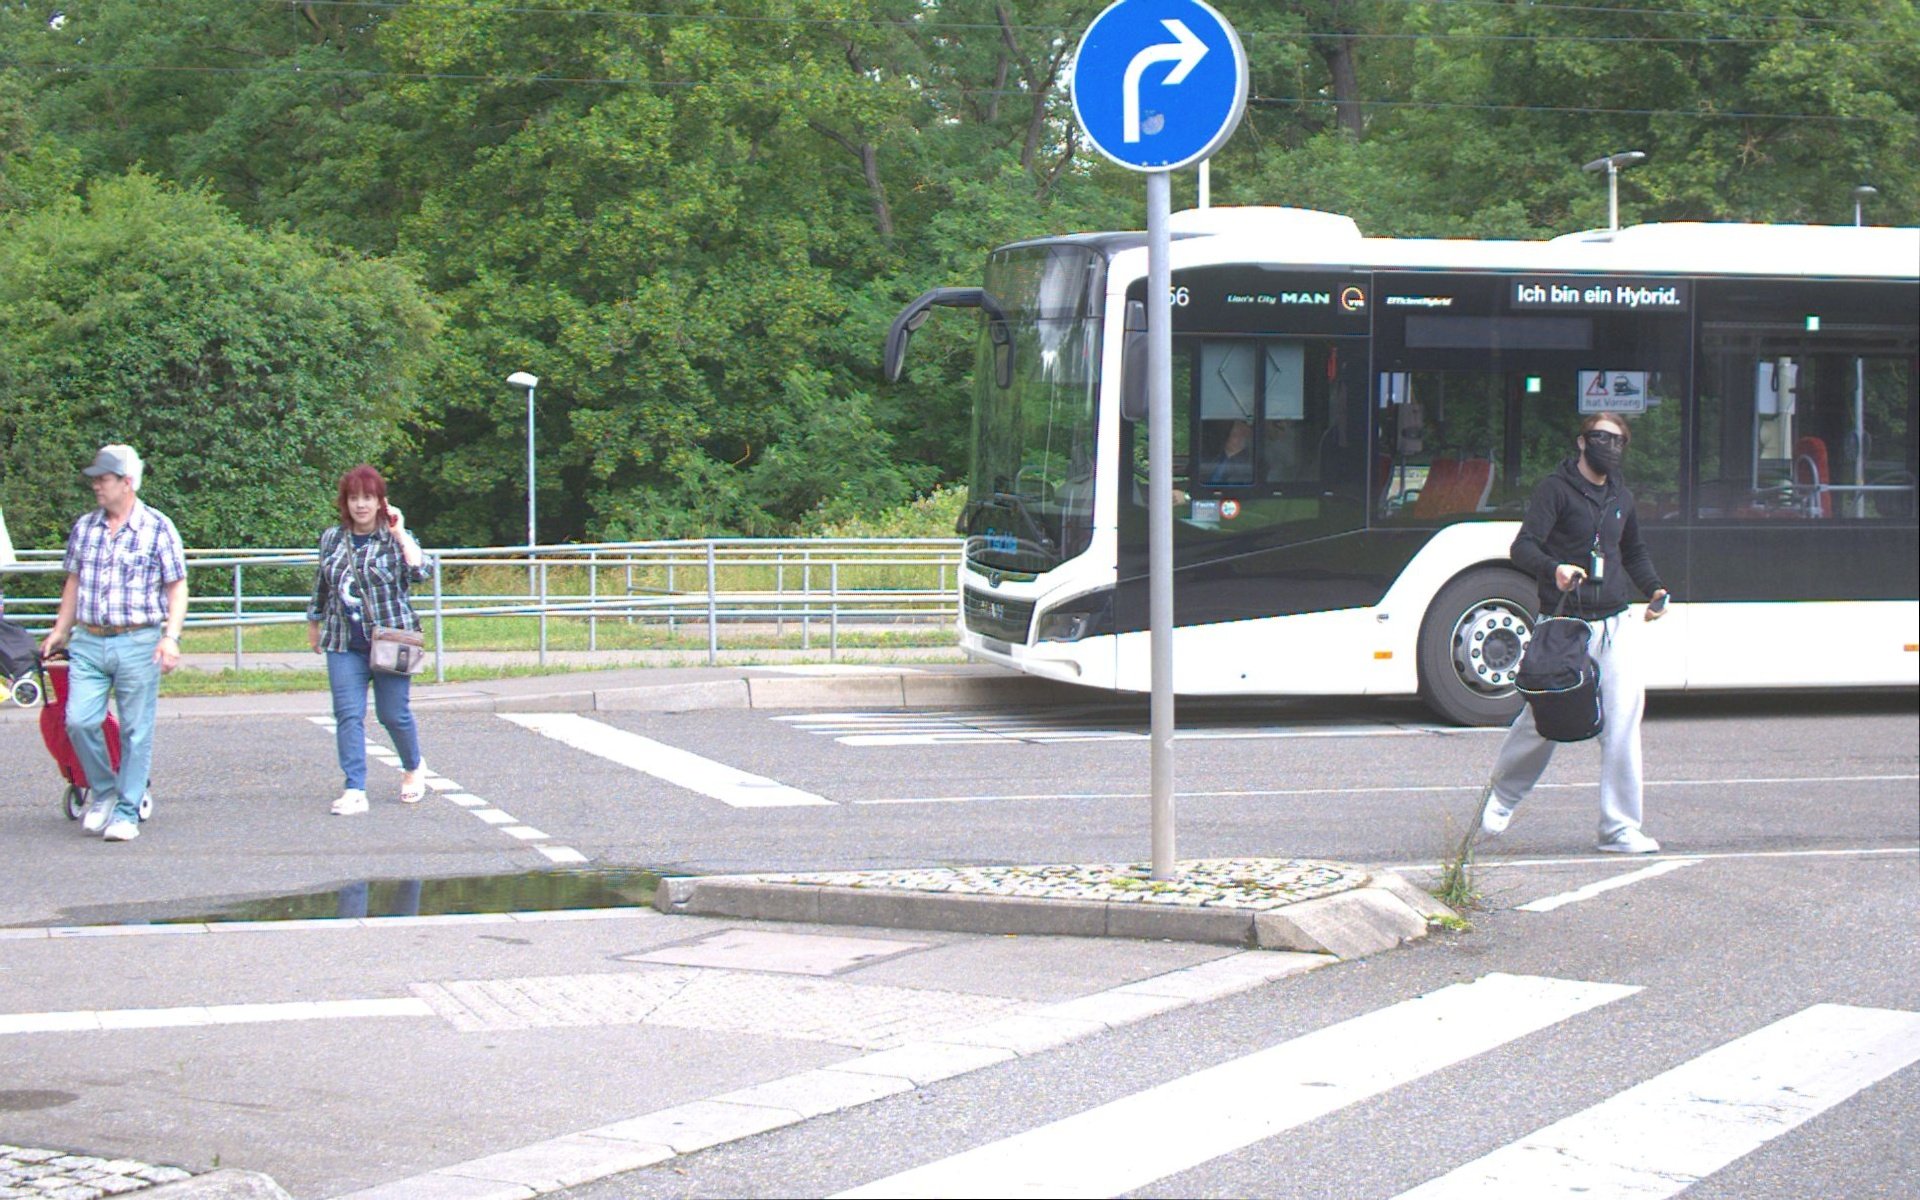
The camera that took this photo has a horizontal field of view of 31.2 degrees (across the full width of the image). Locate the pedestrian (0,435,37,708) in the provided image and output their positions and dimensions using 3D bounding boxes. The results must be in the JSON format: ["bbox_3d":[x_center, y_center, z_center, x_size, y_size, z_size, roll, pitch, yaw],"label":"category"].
[{"bbox_3d":[-6.414,-0.195,22.358,0.720,1.741,0.958,0,1,-11],"label":"pedestrian"}]

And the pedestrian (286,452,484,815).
[{"bbox_3d":[-2.556,0.136,15.254,0.730,1.561,0.692,0,1,-22],"label":"pedestrian"}]

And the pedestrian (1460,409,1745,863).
[{"bbox_3d":[2.554,0.126,13.782,0.954,1.741,1.062,1,1,2],"label":"pedestrian"}]

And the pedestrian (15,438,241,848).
[{"bbox_3d":[-3.417,0.158,14.105,0.720,1.628,0.699,-1,1,-30],"label":"pedestrian"}]

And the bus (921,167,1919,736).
[{"bbox_3d":[5.960,-0.918,22.270,12.156,3.192,2.676,0,2,-16],"label":"bus"}]
